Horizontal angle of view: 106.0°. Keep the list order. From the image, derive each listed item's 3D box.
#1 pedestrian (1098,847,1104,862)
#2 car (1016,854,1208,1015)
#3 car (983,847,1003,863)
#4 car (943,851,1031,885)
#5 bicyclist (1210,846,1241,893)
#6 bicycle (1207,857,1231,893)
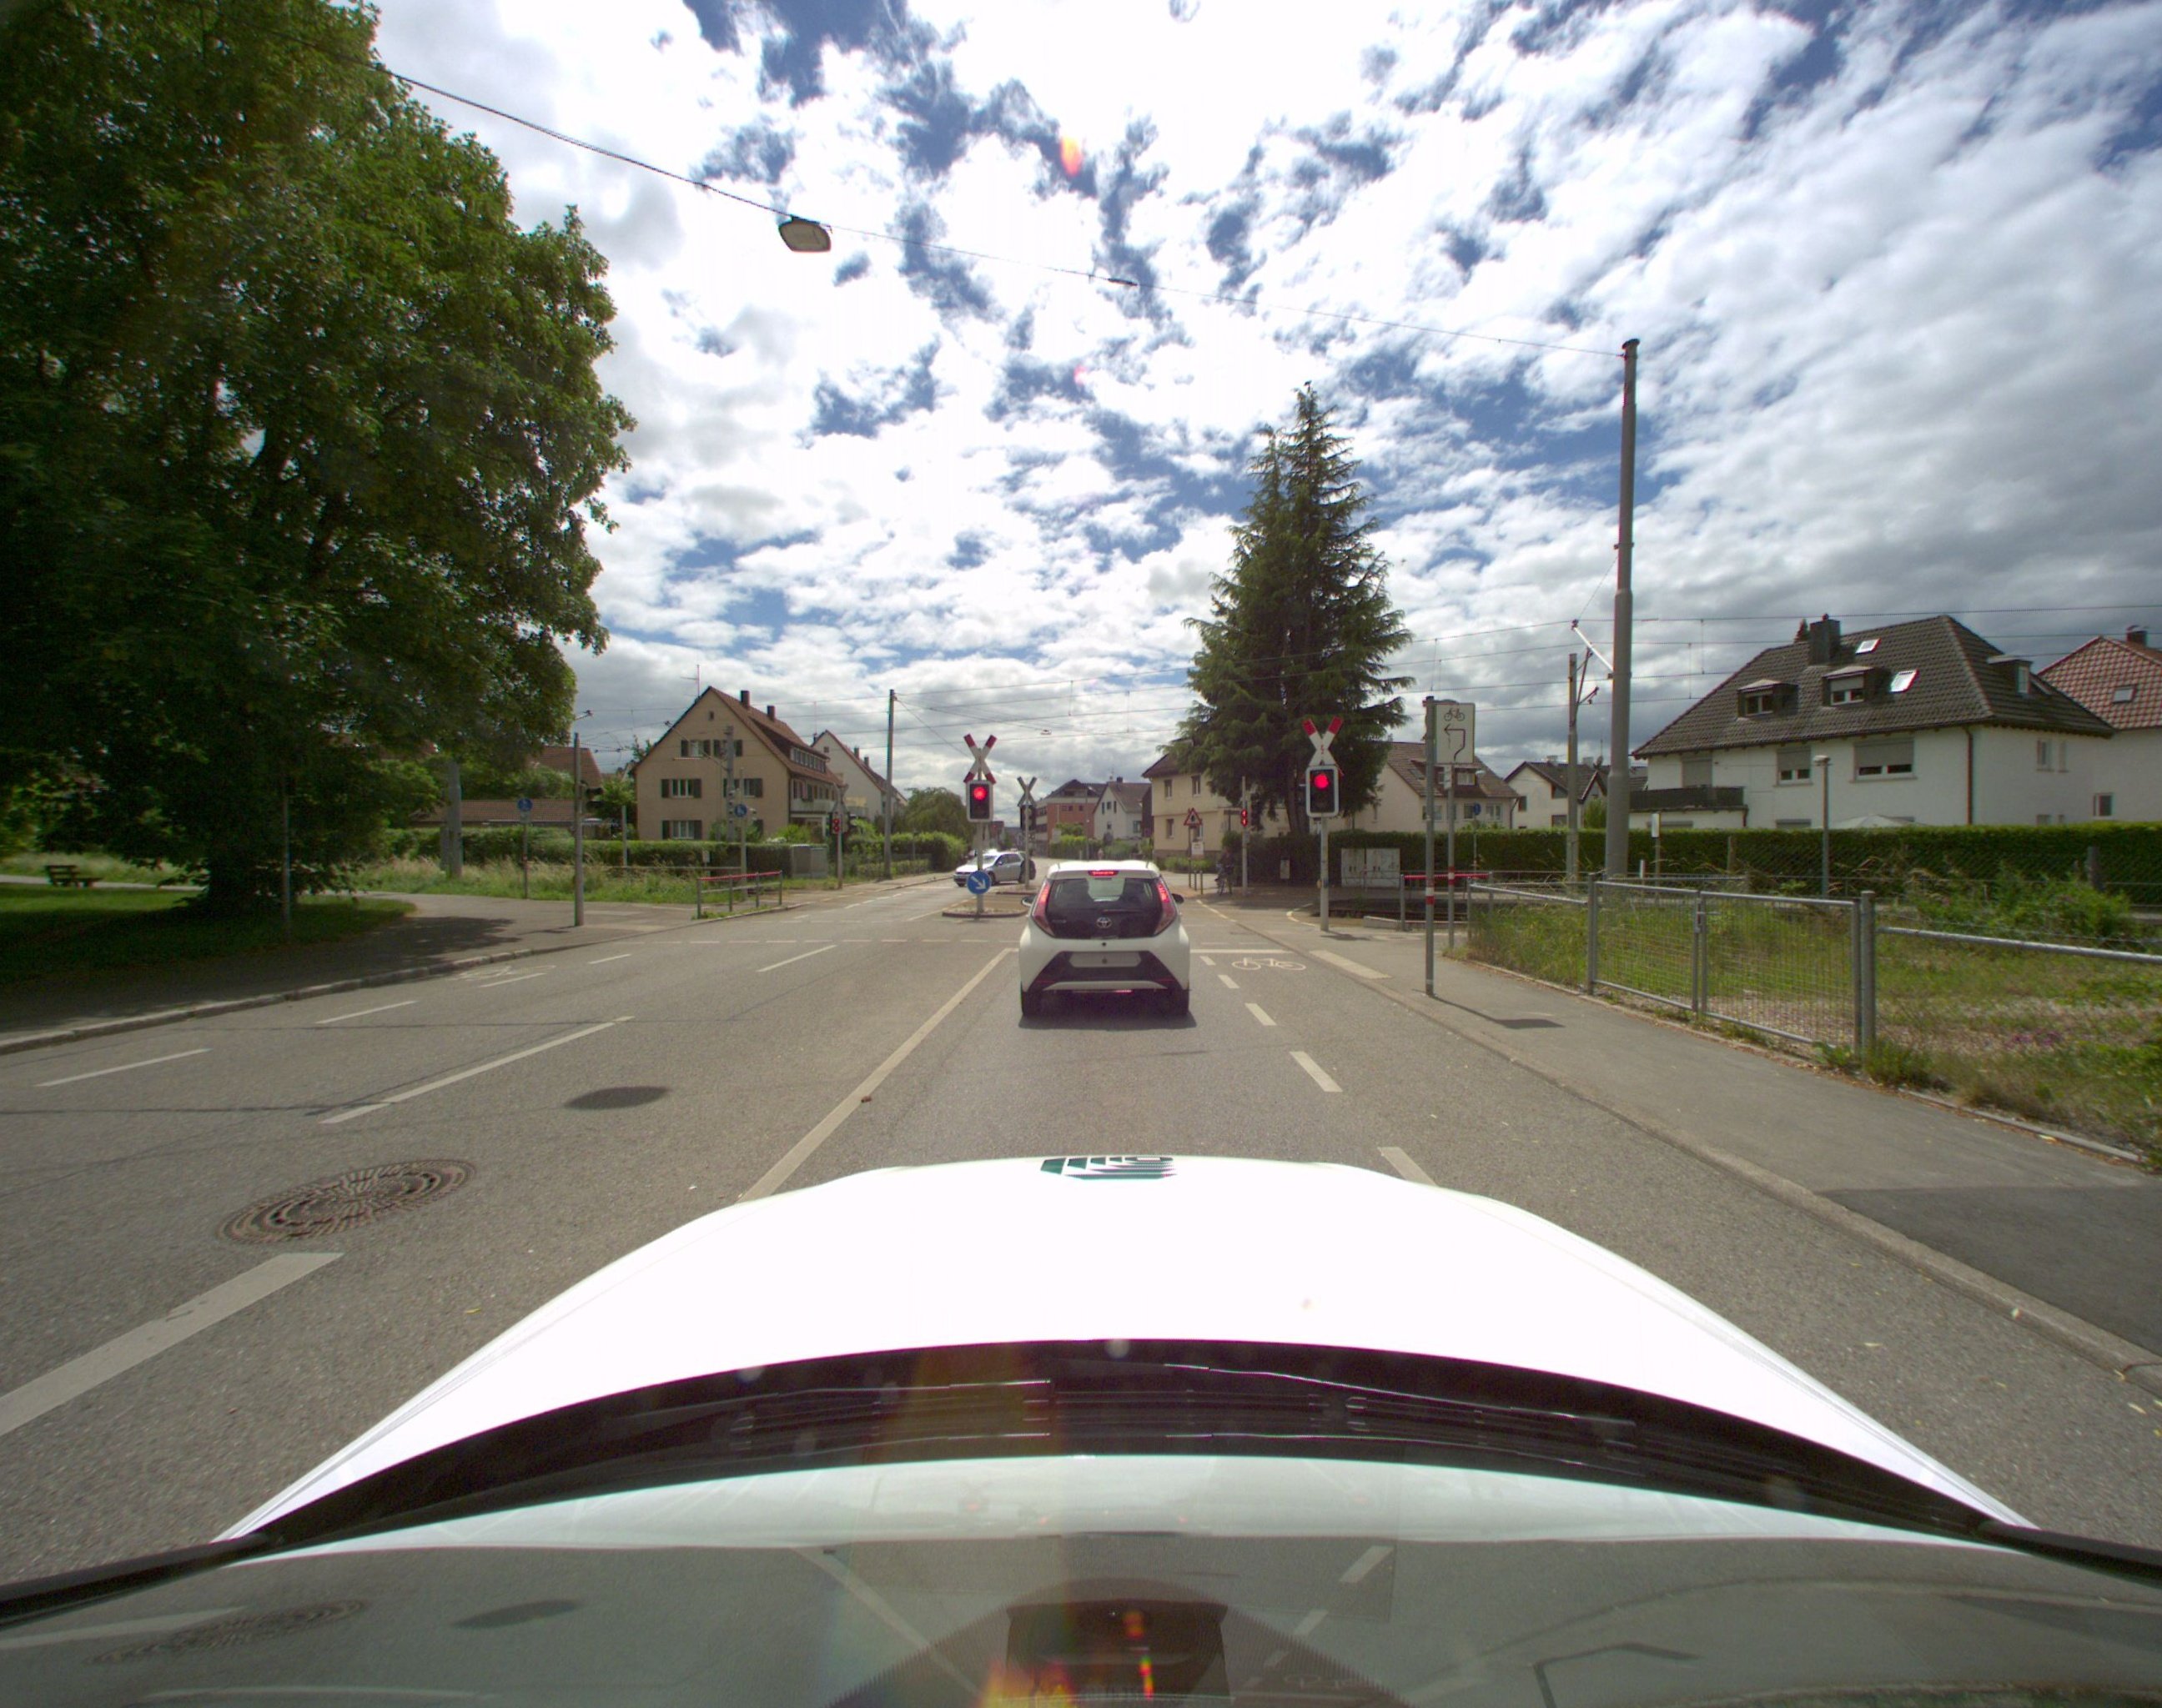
[{"bbox_3d":[2.217,0.051,90.494,0.723,1.576,0.804,1,0,1],"label":"pedestrian"},{"bbox_3d":[0.234,0.729,9.186,1.716,1.442,3.706,1,0,-2],"label":"car"},{"bbox_3d":[-9.510,0.103,88.375,1.990,1.719,3.994,1,0,-4],"label":"car"},{"bbox_3d":[-4.195,0.616,37.116,1.887,1.441,4.124,1,0,30],"label":"car"},{"bbox_3d":[5.073,0.533,28.566,0.839,1.553,0.755,-3,2,-4],"label":"bicyclist"},{"bbox_3d":[4.874,0.729,28.740,0.456,1.172,1.477,-3,2,-4],"label":"bicycle"}]
